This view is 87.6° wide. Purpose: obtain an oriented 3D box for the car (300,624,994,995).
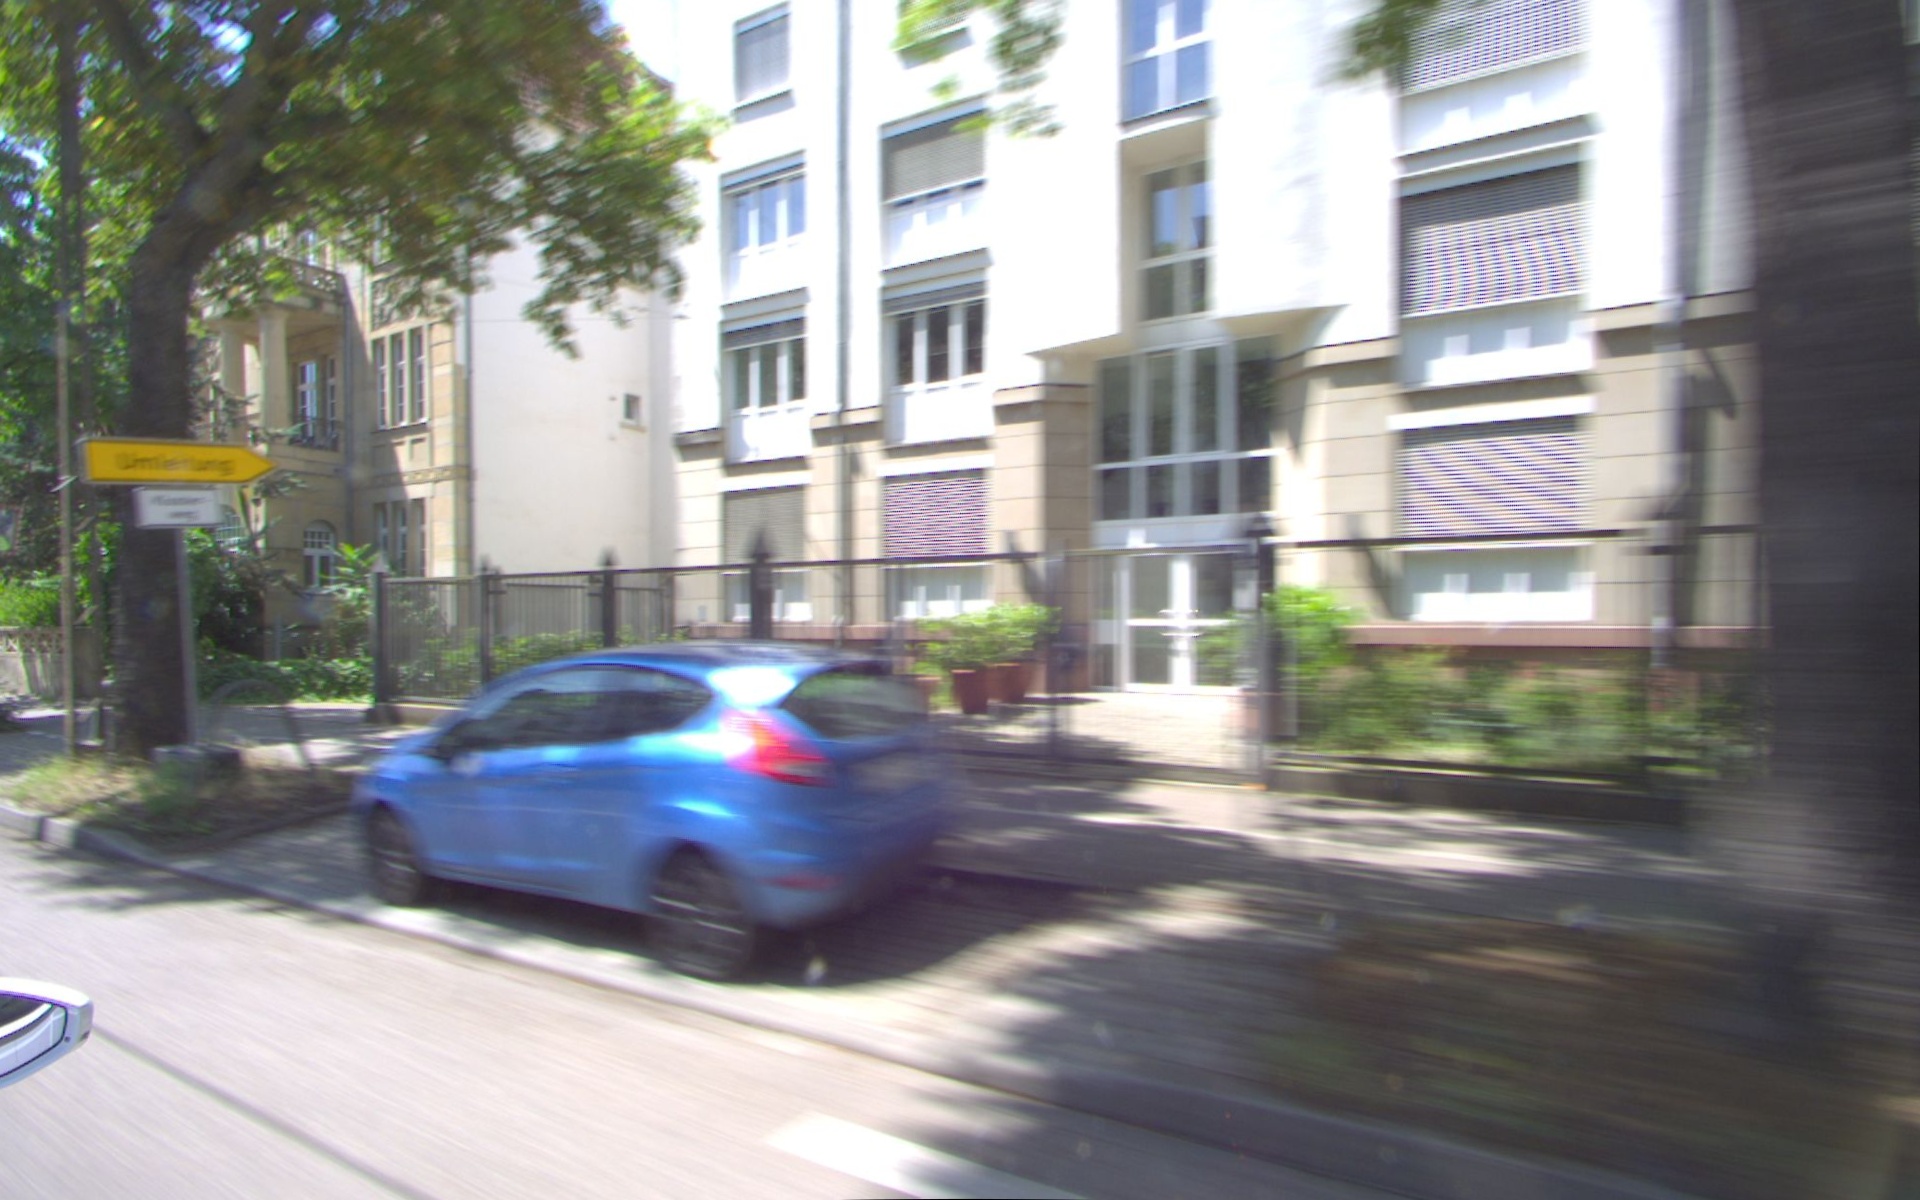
[{"bbox_3d":[-1.930,0.911,5.856,3.942,1.481,1.680,-1,0,31],"label":"car"}]
